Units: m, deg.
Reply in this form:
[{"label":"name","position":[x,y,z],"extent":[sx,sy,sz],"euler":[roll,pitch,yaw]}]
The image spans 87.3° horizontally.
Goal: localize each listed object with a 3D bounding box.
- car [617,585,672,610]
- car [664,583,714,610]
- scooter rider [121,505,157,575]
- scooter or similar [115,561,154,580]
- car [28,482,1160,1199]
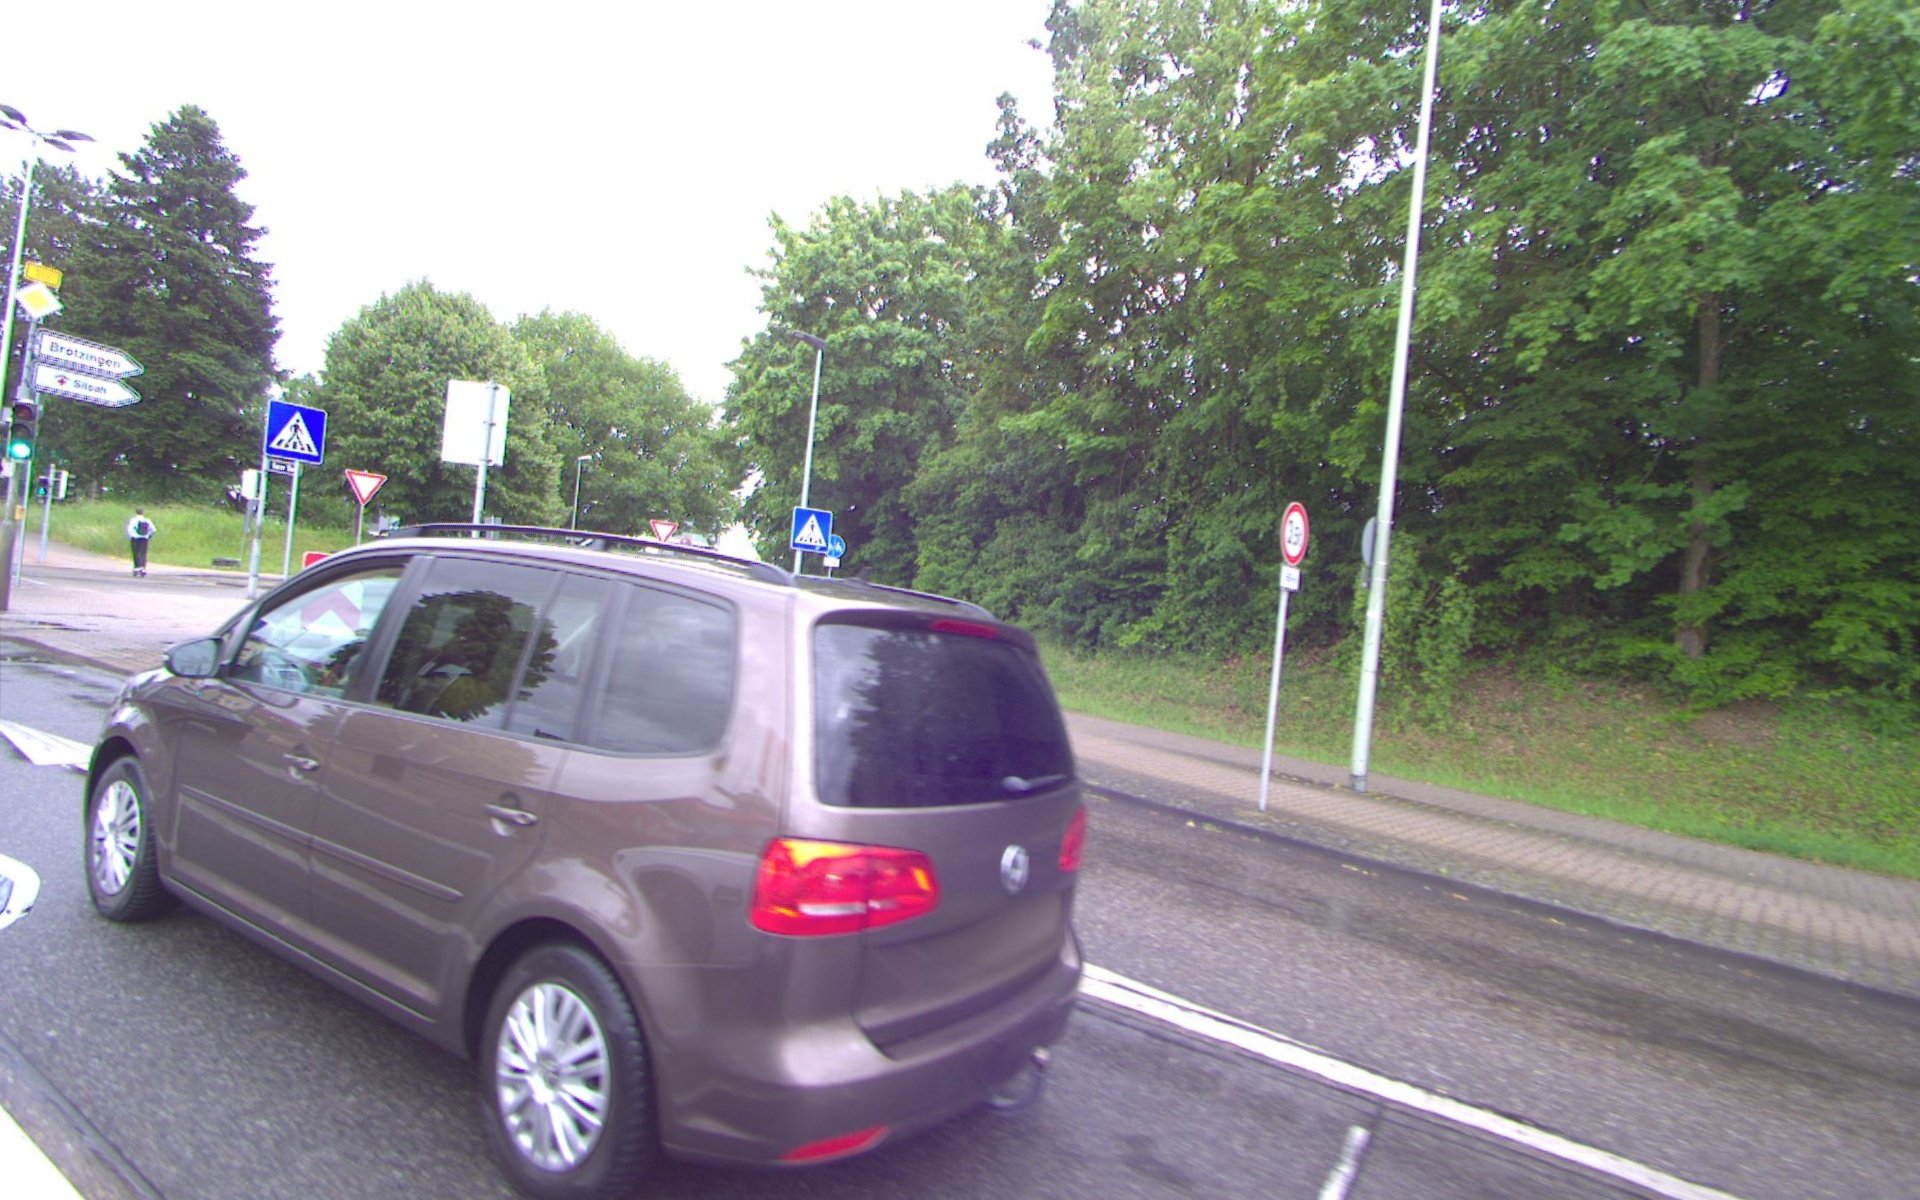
[{"label":"car","position":[-21.814,-0.160,69.625],"extent":[1.817,1.446,4.001],"euler":[5,0,12]},{"label":"car","position":[-21.676,-0.231,80.585],"extent":[1.818,1.882,3.998],"euler":[5,0,19]},{"label":"scooter rider","position":[-24.412,-1.790,29.913],"extent":[0.538,1.990,0.501],"euler":[7,1,31]},{"label":"scooter or similar","position":[-24.565,-0.879,29.926],"extent":[1.235,0.408,0.487],"euler":[7,0,32]},{"label":"car","position":[-1.509,0.589,3.711],"extent":[3.915,1.628,1.750],"euler":[6,-2,32]}]
